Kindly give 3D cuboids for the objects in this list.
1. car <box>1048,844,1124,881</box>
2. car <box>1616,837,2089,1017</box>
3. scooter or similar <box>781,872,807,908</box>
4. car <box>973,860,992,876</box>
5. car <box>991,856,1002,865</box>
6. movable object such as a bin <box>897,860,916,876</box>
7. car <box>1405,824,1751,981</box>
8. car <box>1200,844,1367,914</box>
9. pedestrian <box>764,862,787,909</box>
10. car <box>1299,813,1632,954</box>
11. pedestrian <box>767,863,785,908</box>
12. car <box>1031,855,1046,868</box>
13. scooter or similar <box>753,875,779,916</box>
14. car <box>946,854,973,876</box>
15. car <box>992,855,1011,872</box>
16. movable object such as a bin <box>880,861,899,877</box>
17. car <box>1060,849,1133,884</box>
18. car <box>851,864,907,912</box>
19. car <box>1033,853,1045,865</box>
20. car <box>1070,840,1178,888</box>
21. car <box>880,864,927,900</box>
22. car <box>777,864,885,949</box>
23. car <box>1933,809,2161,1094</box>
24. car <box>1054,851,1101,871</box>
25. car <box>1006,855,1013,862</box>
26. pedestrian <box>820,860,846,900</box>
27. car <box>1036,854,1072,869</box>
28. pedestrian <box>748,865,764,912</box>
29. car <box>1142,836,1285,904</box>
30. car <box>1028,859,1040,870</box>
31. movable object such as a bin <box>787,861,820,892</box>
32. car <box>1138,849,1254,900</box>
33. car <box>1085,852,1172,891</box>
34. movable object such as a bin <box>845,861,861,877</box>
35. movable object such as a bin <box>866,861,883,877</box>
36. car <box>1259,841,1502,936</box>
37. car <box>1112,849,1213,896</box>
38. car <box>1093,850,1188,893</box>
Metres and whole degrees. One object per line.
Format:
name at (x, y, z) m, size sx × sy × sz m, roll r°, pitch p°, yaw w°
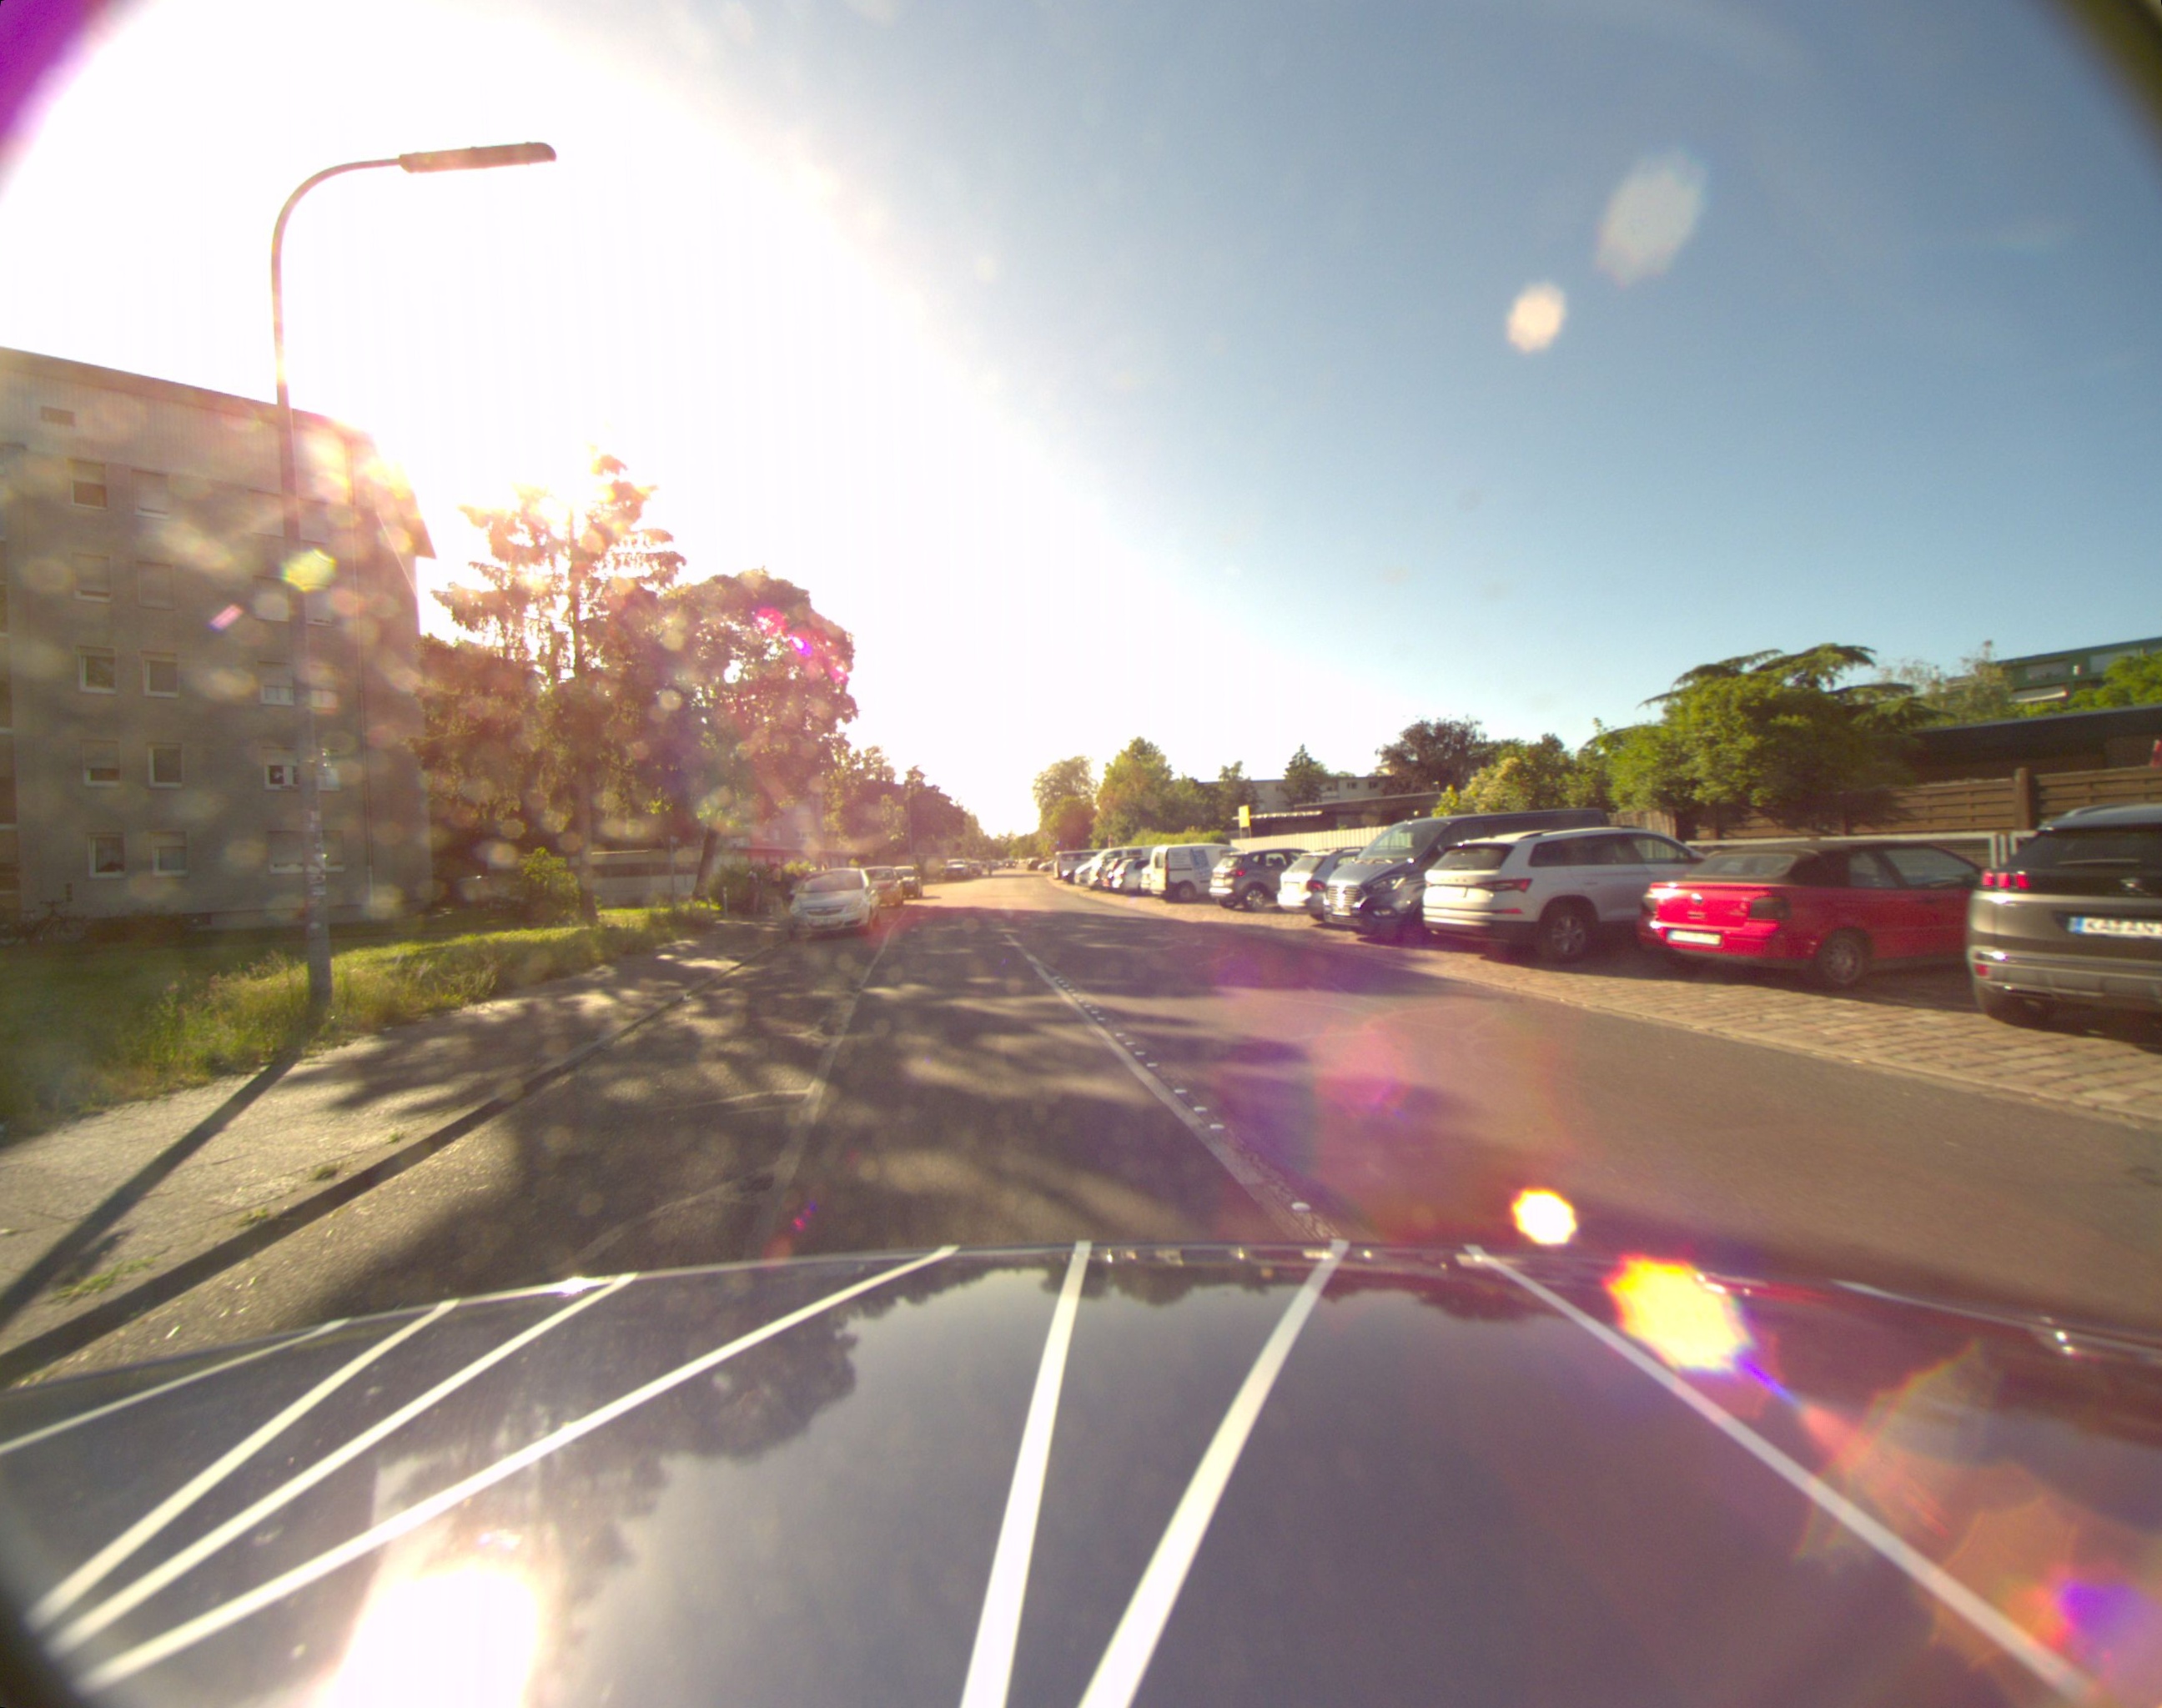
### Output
car at (0.289, 0.487, 48.386) m, size 4.492 × 1.966 × 1.999 m, roll -4°, pitch 1°, yaw -5°
car at (7.898, 0.634, 7.920) m, size 3.624 × 1.336 × 1.731 m, roll -5°, pitch 1°, yaw -11°
scooter or similar at (-10.034, 1.250, 26.582) m, size 0.625 × 1.220 × 0.904 m, roll -2°, pitch 1°, yaw -9°
car at (-10.951, 1.531, 84.412) m, size 1.809 × 1.584 × 4.021 m, roll -4°, pitch 1°, yaw -4°
car at (-14.419, 1.100, 129.636) m, size 1.733 × 1.462 × 3.811 m, roll -3°, pitch 0°, yaw -4°
movable object such as a bin at (-15.243, 1.227, 66.524) m, size 1.252 × 1.339 × 1.053 m, roll -2°, pitch 2°, yaw 8°
car at (6.509, 0.552, 10.109) m, size 3.624 × 1.598 × 1.731 m, roll -5°, pitch 1°, yaw -11°
car at (5.299, 0.605, 20.043) m, size 3.828 × 1.523 × 1.787 m, roll -3°, pitch 1°, yaw -14°
pedestrian at (-10.231, 1.052, 25.484) m, size 0.482 × 1.556 × 0.597 m, roll -1°, pitch 2°, yaw 2°
car at (6.422, 0.410, 12.833) m, size 4.890 × 1.904 × 1.997 m, roll -3°, pitch 1°, yaw -15°
pedestrian at (-10.621, 1.093, 26.467) m, size 0.487 × 1.556 × 0.468 m, roll -1°, pitch 2°, yaw -12°
car at (-5.792, 1.013, 103.356) m, size 1.785 × 1.564 × 4.422 m, roll -4°, pitch 0°, yaw -4°
scooter or similar at (-9.948, 1.300, 23.979) m, size 0.401 × 1.220 × 1.250 m, roll -2°, pitch 1°, yaw -39°
car at (-10.859, 0.978, 68.192) m, size 1.912 × 1.829 × 5.272 m, roll -4°, pitch 0°, yaw -5°
car at (-8.044, 0.954, 77.308) m, size 1.733 × 1.586 × 3.811 m, roll -3°, pitch 0°, yaw -4°
movable object such as a bin at (-16.863, 1.302, 66.907) m, size 1.252 × 1.339 × 1.053 m, roll -2°, pitch 2°, yaw 8°
car at (0.929, 0.735, 45.568) m, size 4.161 × 1.696 × 1.883 m, roll -4°, pitch 1°, yaw 2°
car at (-7.204, 1.152, 27.388) m, size 1.581 × 1.438 × 3.785 m, roll -3°, pitch 1°, yaw -10°
car at (-7.030, 0.801, 127.177) m, size 1.910 × 1.930 × 4.509 m, roll 0°, pitch 0°, yaw -3°
car at (2.056, 0.454, 36.937) m, size 4.804 × 1.909 × 2.080 m, roll -5°, pitch 1°, yaw -10°
car at (-8.075, 1.241, 34.747) m, size 1.652 × 1.395 × 3.879 m, roll -2°, pitch 1°, yaw -7°
car at (-5.541, 1.073, 17.271) m, size 1.737 × 1.534 × 3.785 m, roll -3°, pitch 1°, yaw -10°
car at (8.408, 0.509, 5.290) m, size 4.002 × 1.603 × 1.816 m, roll -5°, pitch 1°, yaw -18°
car at (-0.336, 0.611, 68.713) m, size 3.999 × 1.524 × 1.830 m, roll -4°, pitch 1°, yaw -6°
car at (-17.510, 1.061, 186.288) m, size 1.733 × 1.586 × 3.811 m, roll -3°, pitch 0°, yaw -4°
pedestrian at (-10.166, 1.051, 31.176) m, size 0.790 × 1.556 × 0.569 m, roll -5°, pitch 2°, yaw -9°
car at (-3.249, 0.867, 90.807) m, size 4.000 × 1.448 × 1.562 m, roll -5°, pitch 1°, yaw -10°
pedestrian at (-10.698, 1.125, 24.998) m, size 0.362 × 1.495 × 0.500 m, roll -1°, pitch 2°, yaw -11°
car at (4.197, 0.499, 24.425) m, size 3.991 × 1.770 × 1.923 m, roll -5°, pitch 1°, yaw -12°
car at (-7.023, 1.576, 113.133) m, size 1.818 × 1.672 × 3.647 m, roll 0°, pitch 0°, yaw -4°
movable object such as a bin at (-13.370, 1.080, 36.683) m, size 1.241 × 1.395 × 0.914 m, roll -3°, pitch 1°, yaw -7°
car at (3.941, 0.675, 26.325) m, size 3.526 × 1.481 × 1.726 m, roll -4°, pitch 2°, yaw -11°
car at (2.110, 0.772, 34.301) m, size 3.526 × 1.438 × 1.635 m, roll -5°, pitch 1°, yaw -13°
movable object such as a bin at (-20.640, 1.340, 68.713) m, size 1.078 × 1.409 × 0.833 m, roll -2°, pitch 2°, yaw 2°
movable object such as a bin at (-18.256, 1.328, 67.186) m, size 1.078 × 1.339 × 0.865 m, roll -2°, pitch 2°, yaw 8°
car at (6.027, 0.631, 15.498) m, size 4.151 × 1.484 × 1.923 m, roll -4°, pitch 1°, yaw -10°
car at (3.101, 0.690, 29.362) m, size 3.524 × 1.480 × 1.636 m, roll -4°, pitch 1°, yaw -6°
car at (2.451, 0.721, 31.613) m, size 3.525 × 1.480 × 1.635 m, roll -4°, pitch 0°, yaw -10°
